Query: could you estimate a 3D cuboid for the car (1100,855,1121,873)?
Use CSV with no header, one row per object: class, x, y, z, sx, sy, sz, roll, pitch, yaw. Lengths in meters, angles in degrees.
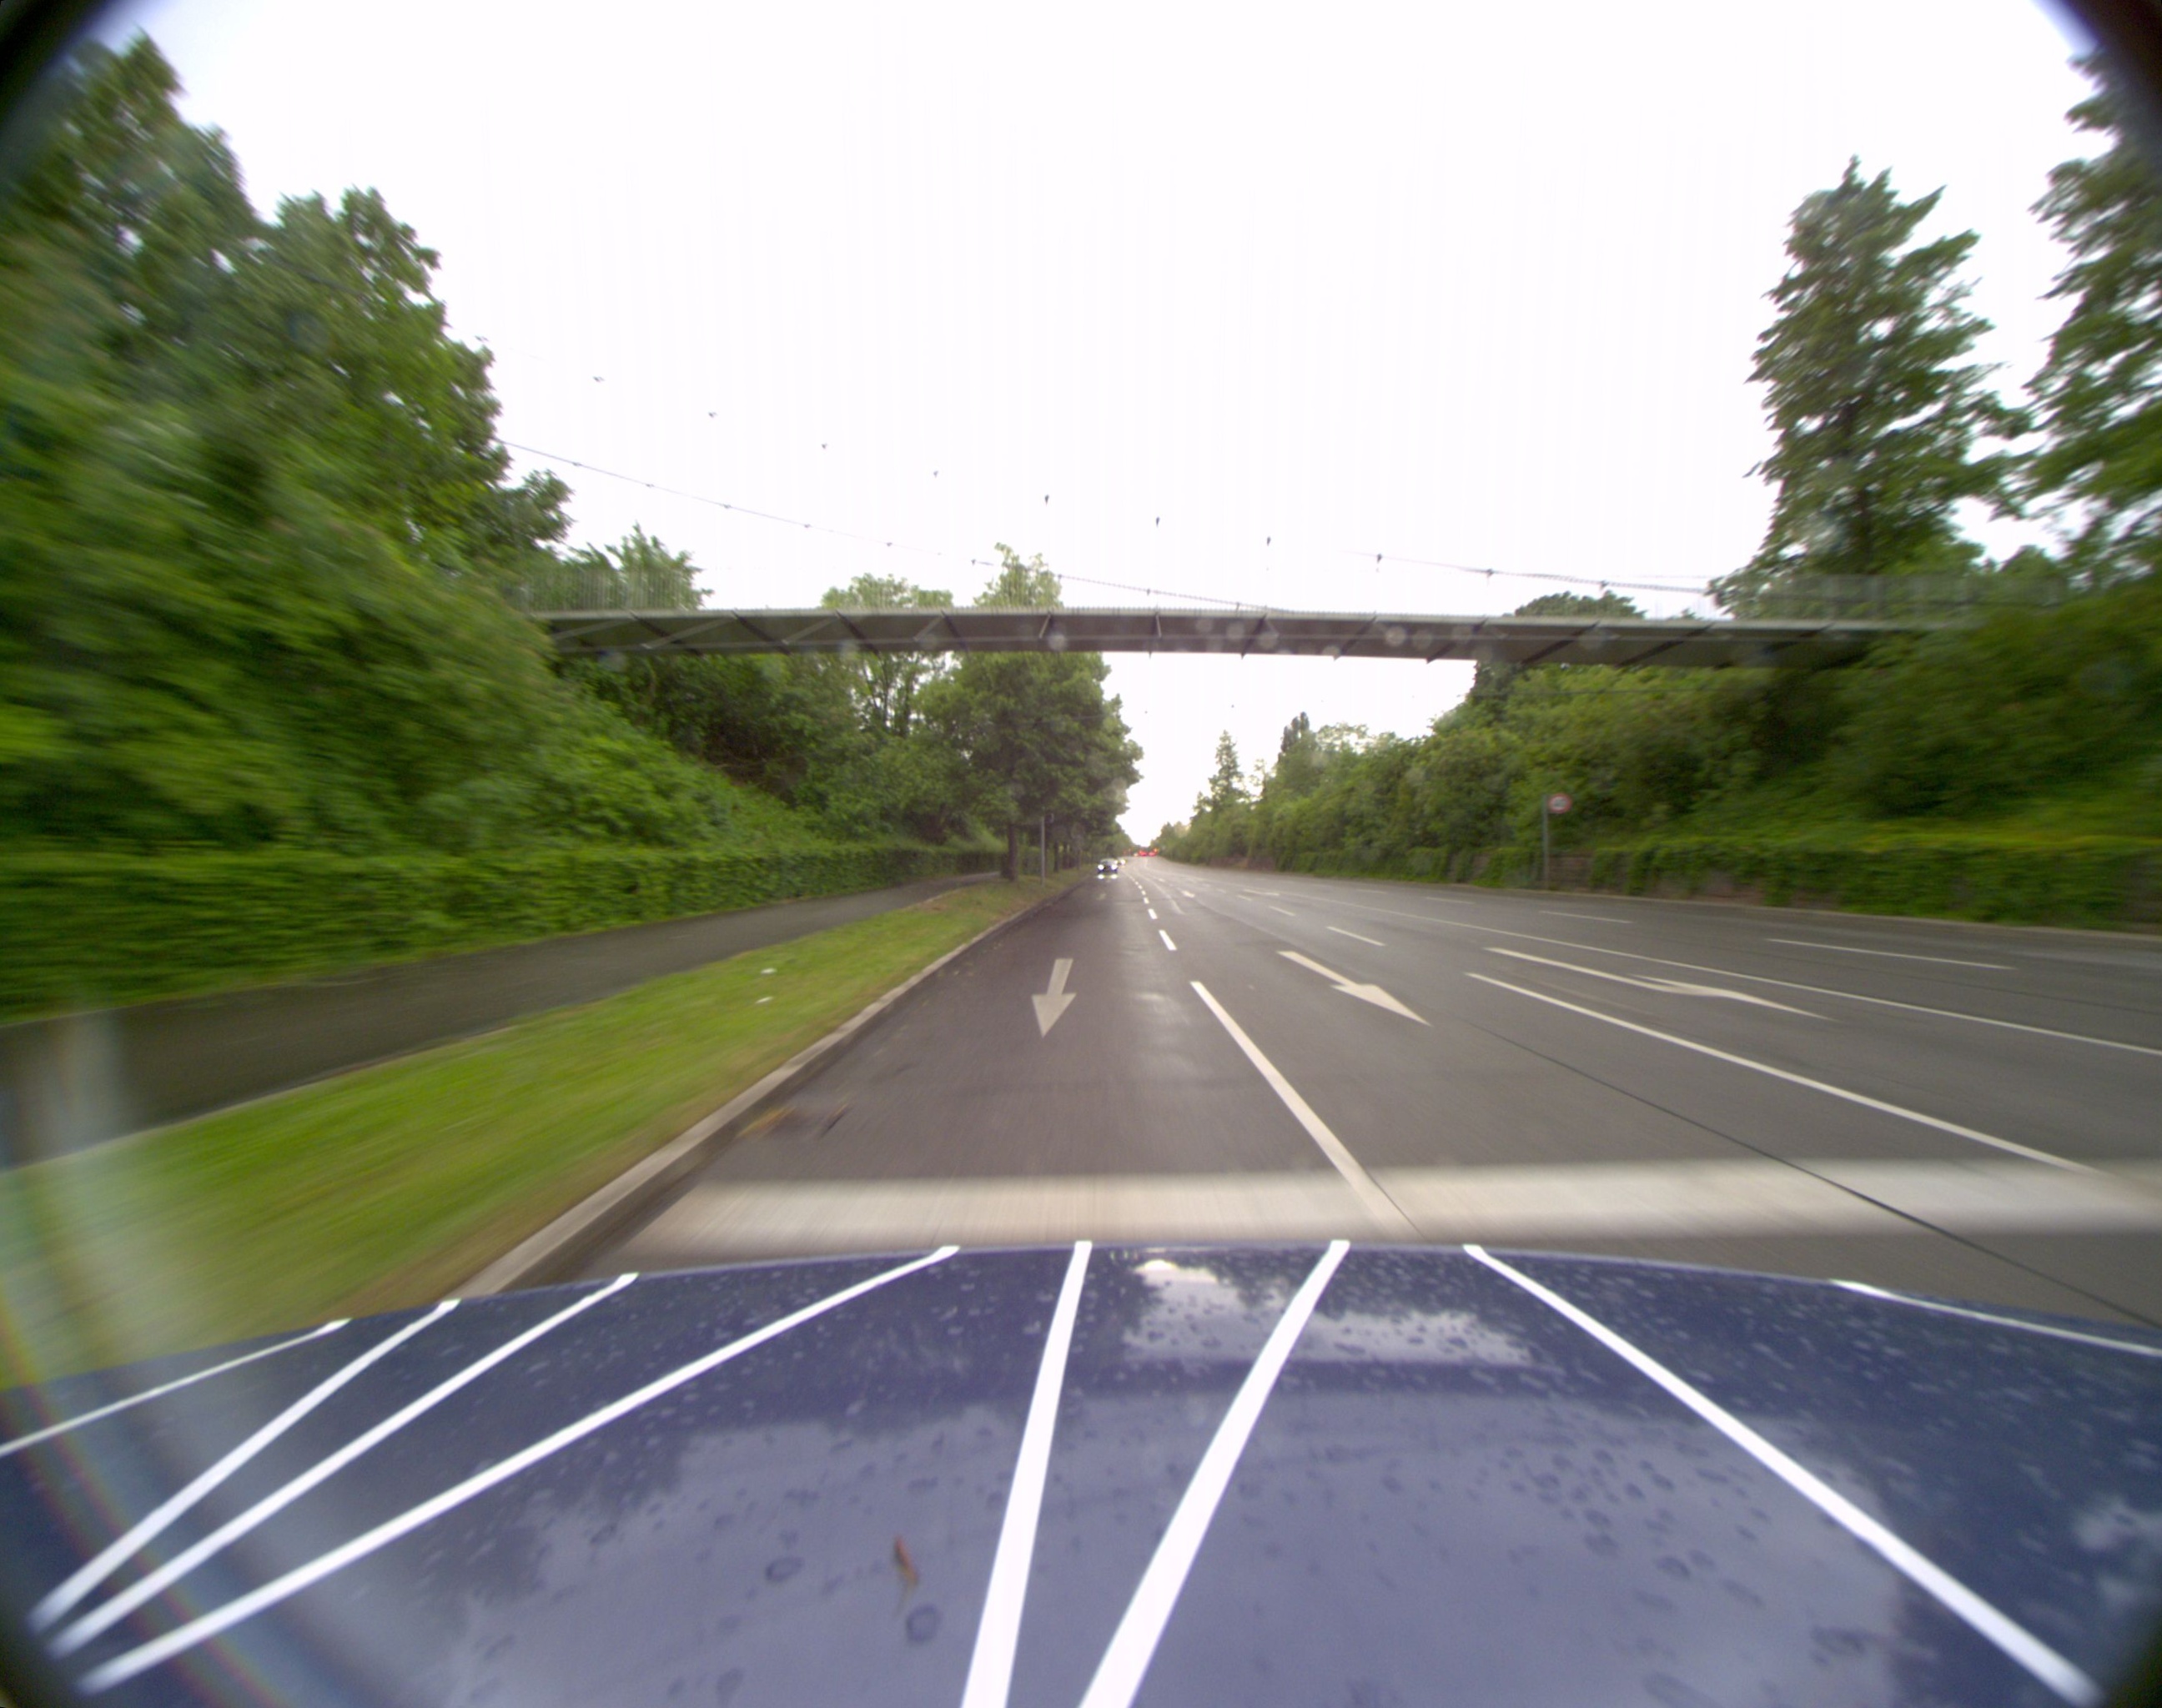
car,2.708,0.879,69.537,1.824,1.547,4.000,-1,1,3
